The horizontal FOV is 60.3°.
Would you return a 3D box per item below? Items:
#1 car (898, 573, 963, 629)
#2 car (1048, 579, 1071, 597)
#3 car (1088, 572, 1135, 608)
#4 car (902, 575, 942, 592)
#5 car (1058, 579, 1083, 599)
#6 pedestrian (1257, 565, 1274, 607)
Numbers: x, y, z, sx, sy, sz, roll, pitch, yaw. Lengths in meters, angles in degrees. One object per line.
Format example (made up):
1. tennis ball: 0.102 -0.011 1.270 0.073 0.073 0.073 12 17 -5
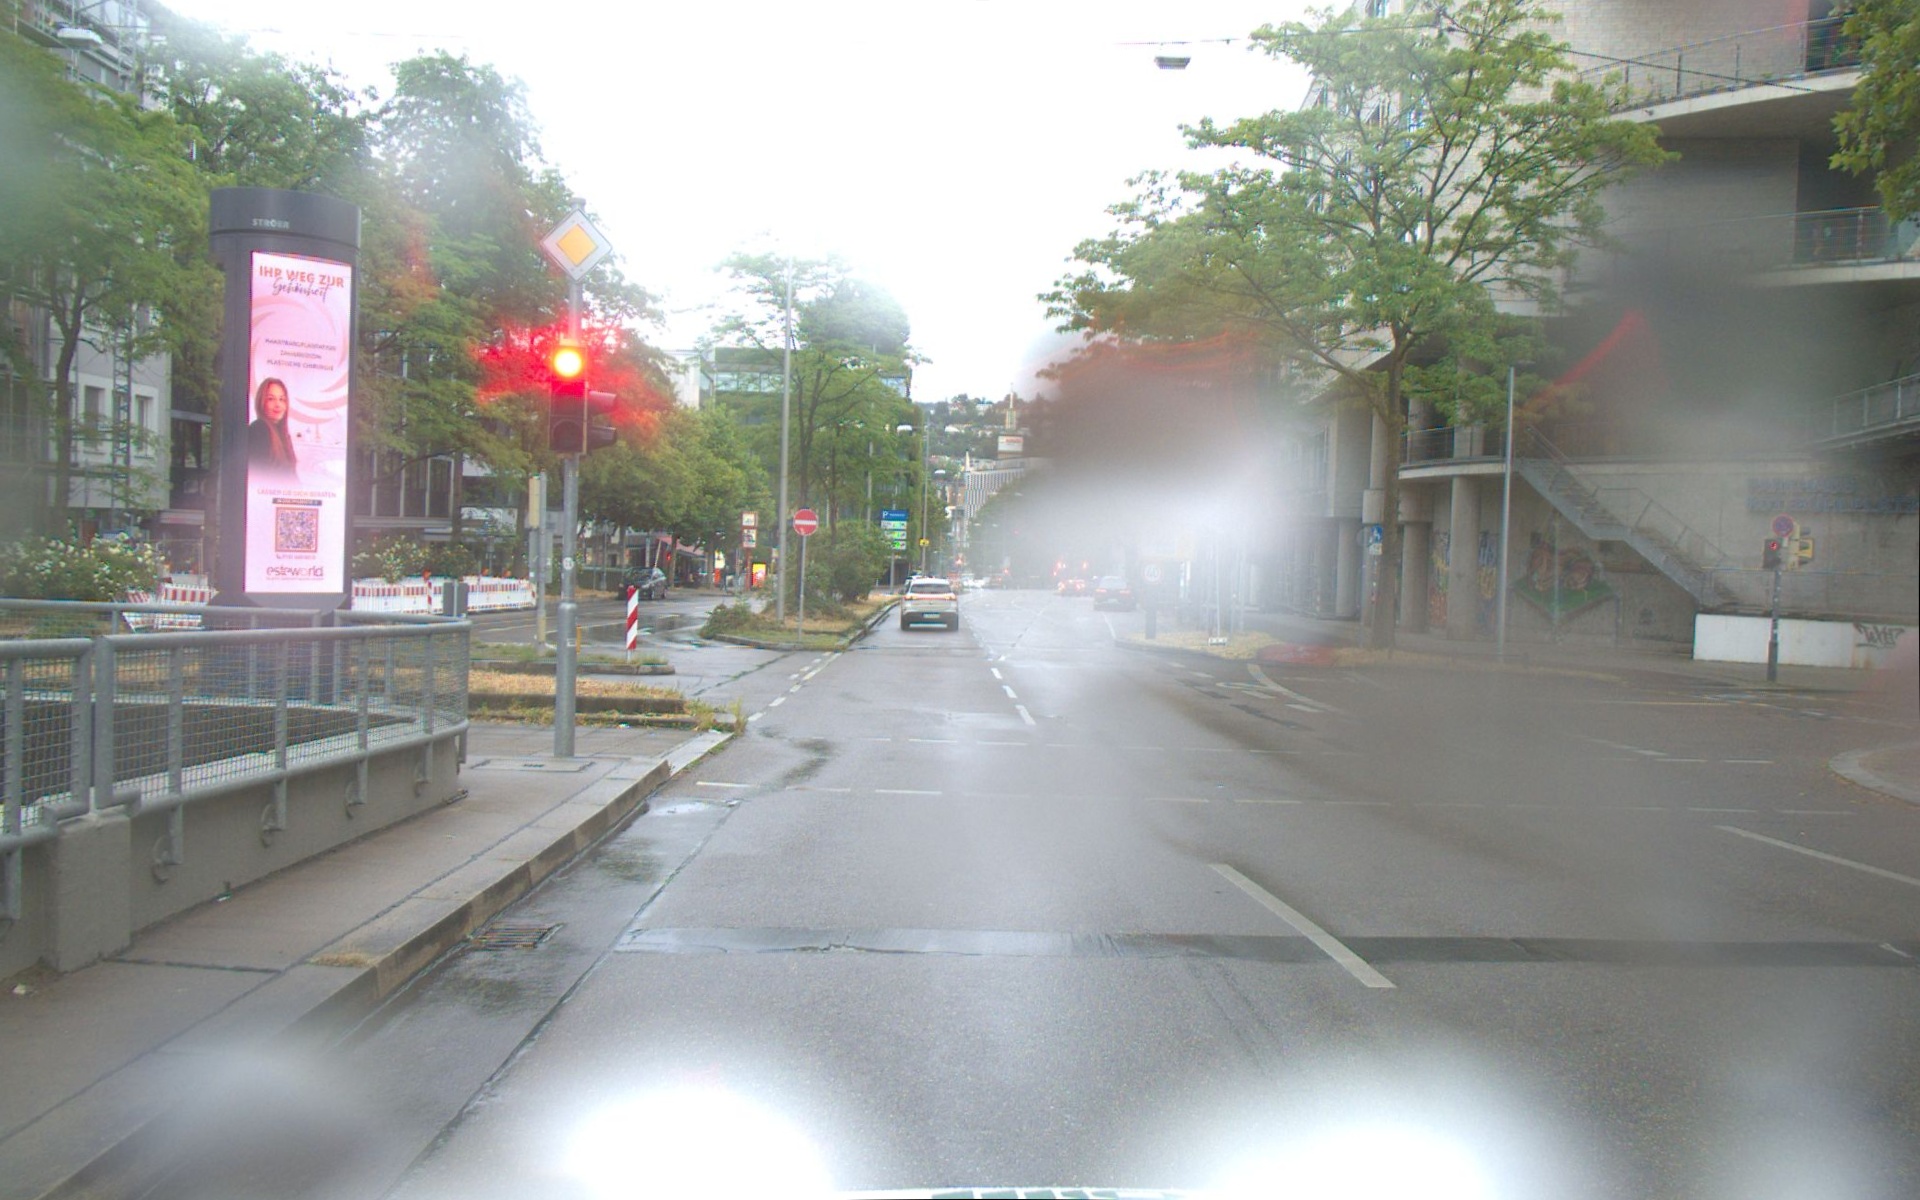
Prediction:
1. car: -0.997 0.023 53.759 1.793 1.668 4.296 2 0 -5
2. car: 10.035 -1.195 166.960 1.953 1.766 3.999 1 0 -1
3. car: 7.672 -0.512 83.537 2.288 1.720 4.003 1 1 6
4. car: -4.312 -1.845 187.720 3.941 1.789 1.982 2 0 -28
5. car: 10.345 -1.022 154.975 1.953 1.754 3.999 1 0 -2
6. pedestrian: 14.457 -0.658 78.327 0.759 1.954 0.703 1 -1 9
